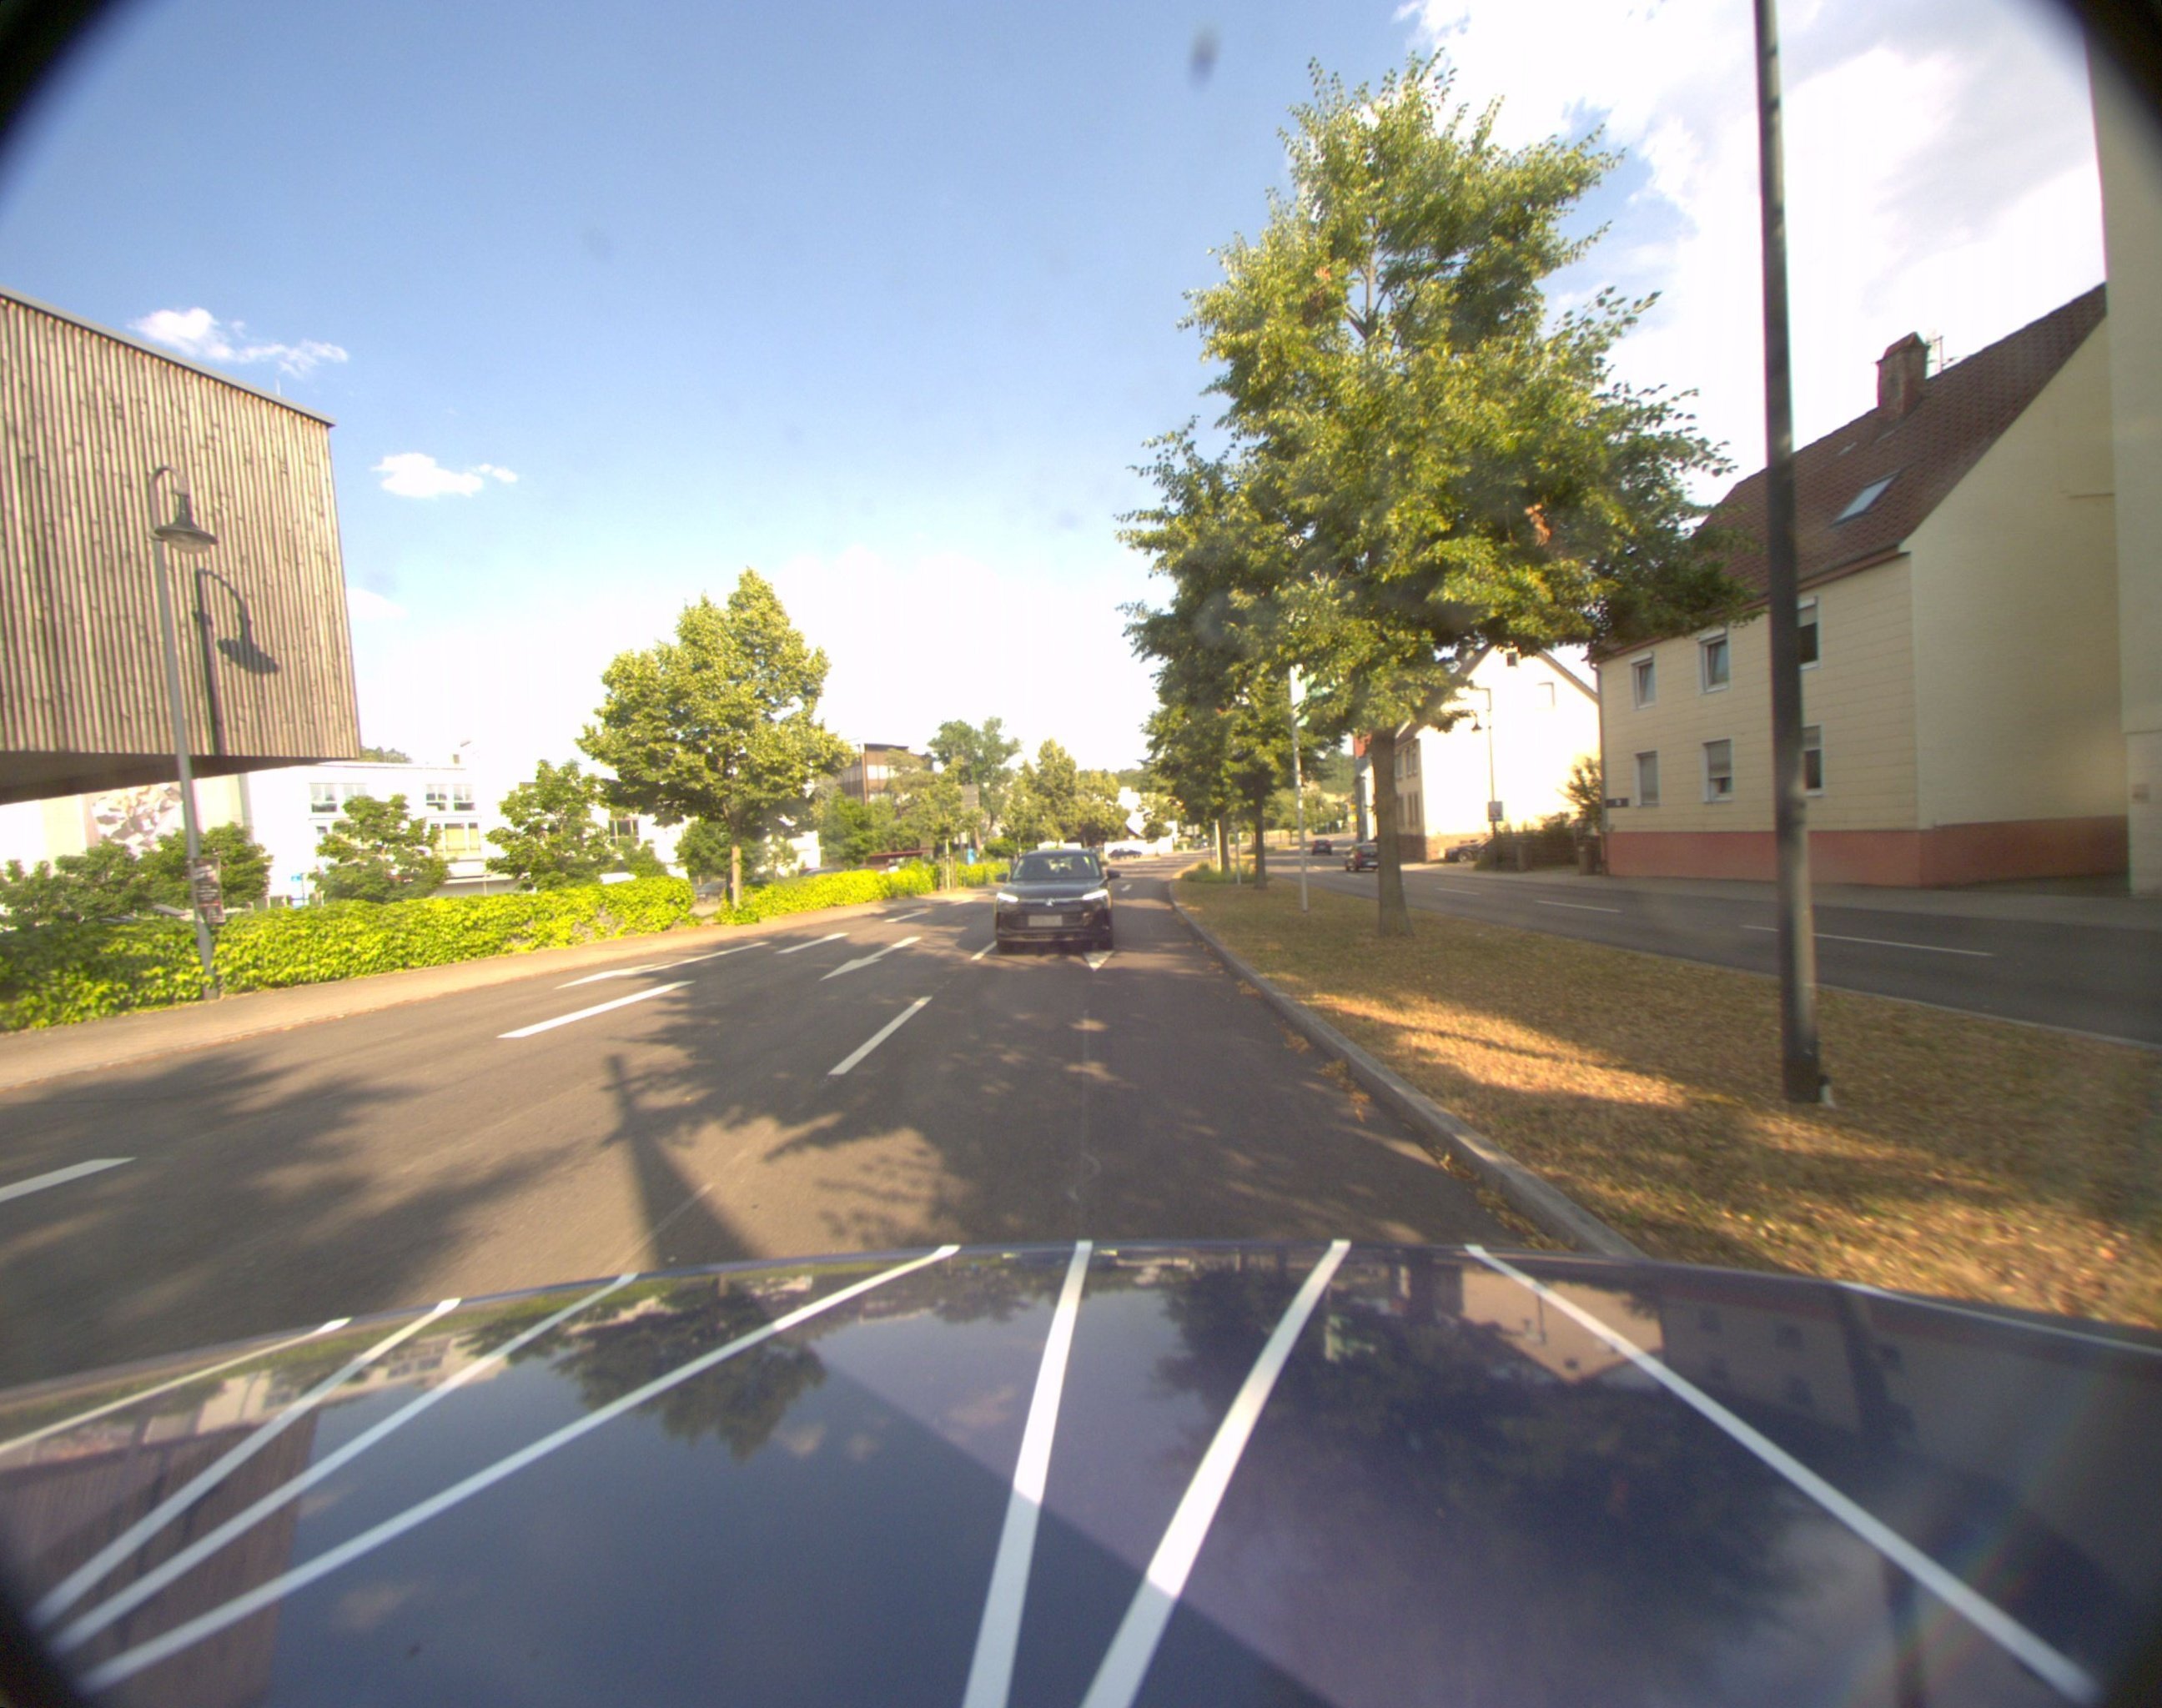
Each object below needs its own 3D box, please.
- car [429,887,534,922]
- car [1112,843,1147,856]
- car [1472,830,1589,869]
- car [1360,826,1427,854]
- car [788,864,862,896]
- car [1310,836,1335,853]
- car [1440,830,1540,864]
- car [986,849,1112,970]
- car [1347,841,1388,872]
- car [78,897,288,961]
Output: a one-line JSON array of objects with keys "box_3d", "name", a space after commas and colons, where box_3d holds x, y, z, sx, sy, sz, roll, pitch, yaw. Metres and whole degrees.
[{"box_3d": [-36.505, 3.059, 46.426, 1.995, 1.638, 4.554, -3, 1, 24], "name": "car"}, {"box_3d": [5.958, -0.552, 93.395, 3.830, 1.412, 1.940, -3, 1, 19], "name": "car"}, {"box_3d": [20.311, -0.200, 34.569, 4.351, 1.477, 1.949, -3, 1, 24], "name": "car"}, {"box_3d": [25.818, -1.180, 62.929, 4.831, 1.866, 2.002, -5, 0, 18], "name": "car"}, {"box_3d": [-15.387, 1.532, 46.017, 1.997, 1.523, 4.551, -5, 0, 13], "name": "car"}, {"box_3d": [22.860, -0.916, 72.045, 1.943, 1.477, 4.328, -2, 1, 14], "name": "car"}, {"box_3d": [21.188, -0.362, 39.612, 4.351, 1.477, 2.014, -3, 1, 22], "name": "car"}, {"box_3d": [-0.461, 0.775, 12.864, 1.725, 1.605, 4.260, -2, 1, 0], "name": "car"}, {"box_3d": [14.963, 0.102, 39.765, 1.608, 1.477, 3.788, -2, 1, 15], "name": "car"}, {"box_3d": [-29.986, 2.451, 25.553, 1.996, 1.618, 4.004, -3, 1, 17], "name": "car"}]
